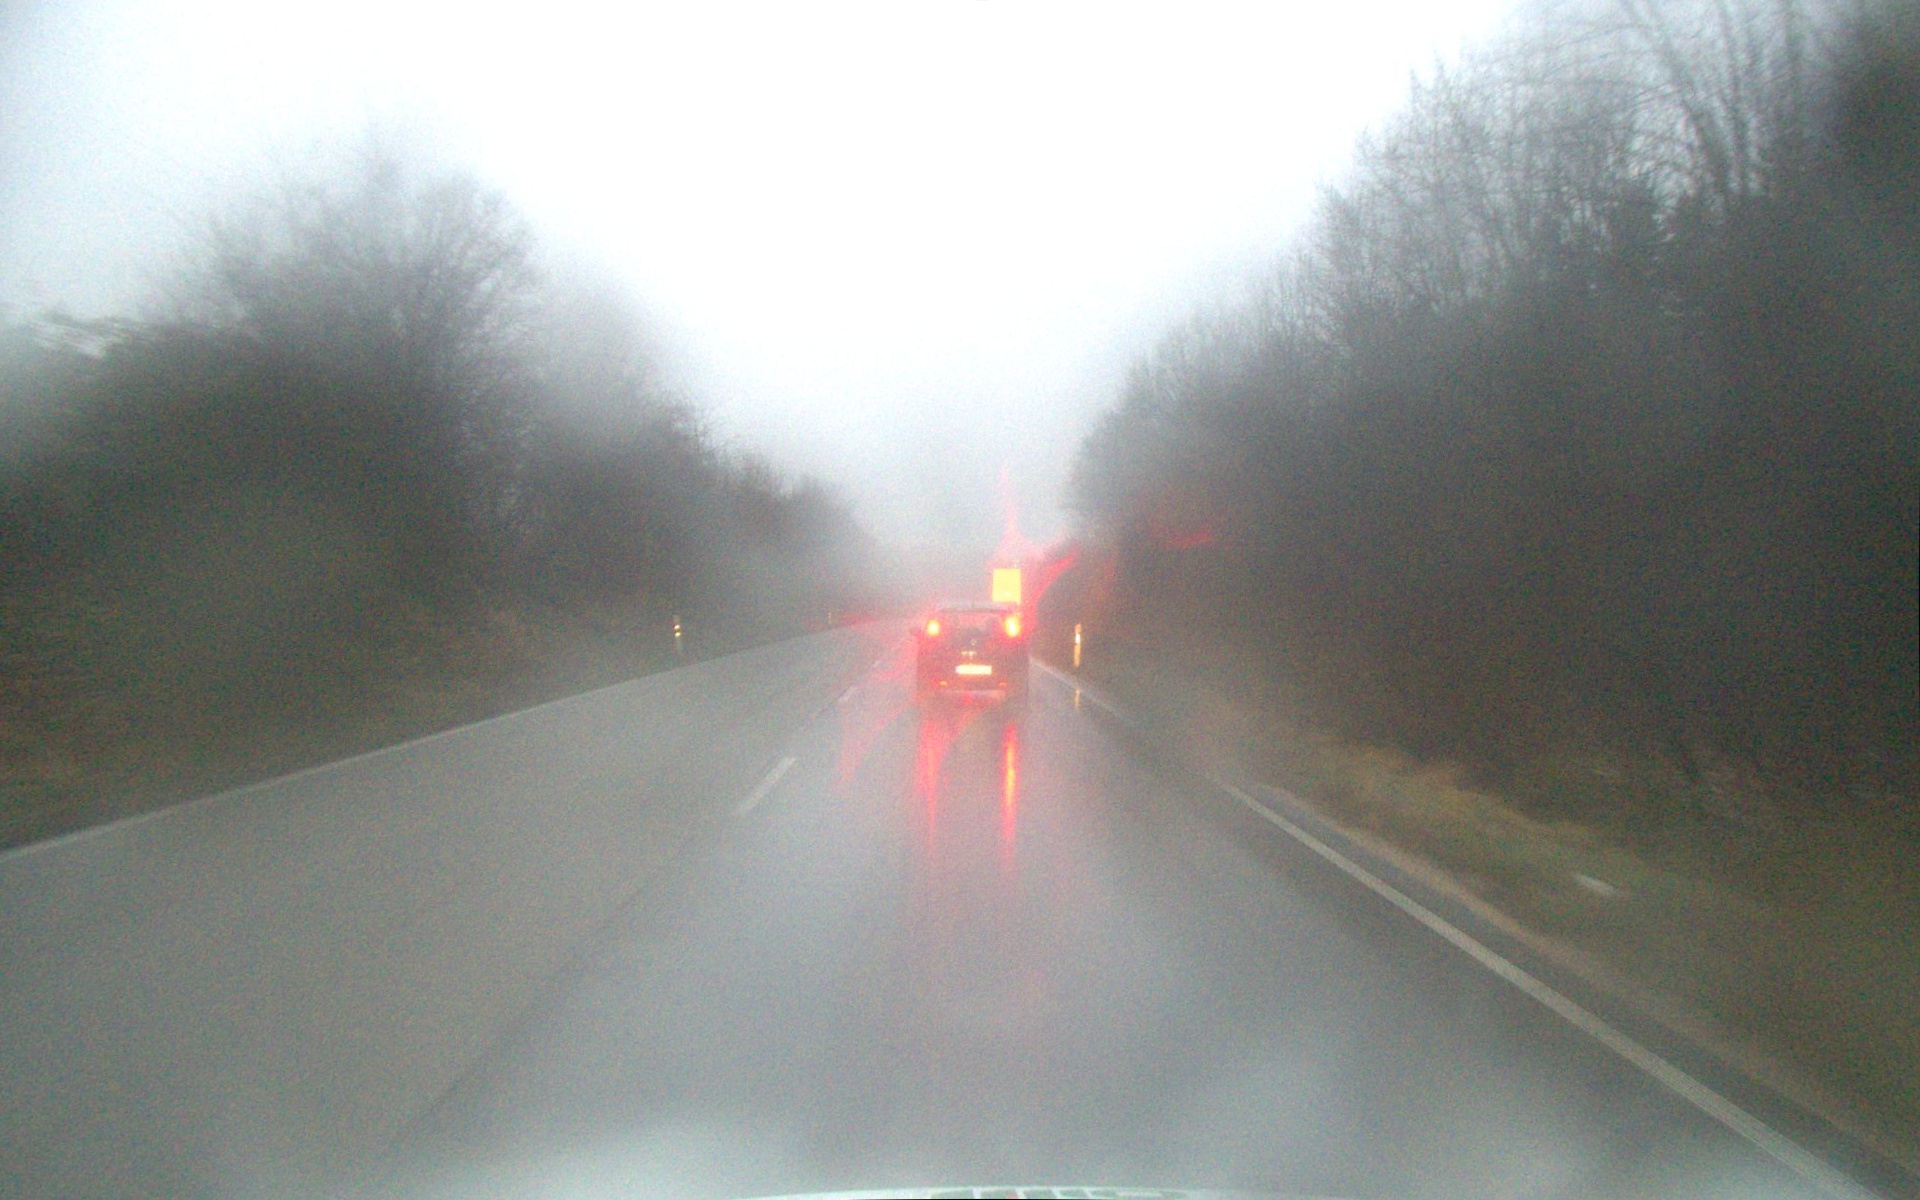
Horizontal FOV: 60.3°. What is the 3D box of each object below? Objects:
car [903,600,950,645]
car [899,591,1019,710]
[{"bbox_3d":[-1.278,0.855,64.321,1.692,1.672,4.000,0,0,1],"label":"car"},{"bbox_3d":[0.004,0.721,25.416,1.692,1.672,4.000,0,0,1],"label":"car"}]
